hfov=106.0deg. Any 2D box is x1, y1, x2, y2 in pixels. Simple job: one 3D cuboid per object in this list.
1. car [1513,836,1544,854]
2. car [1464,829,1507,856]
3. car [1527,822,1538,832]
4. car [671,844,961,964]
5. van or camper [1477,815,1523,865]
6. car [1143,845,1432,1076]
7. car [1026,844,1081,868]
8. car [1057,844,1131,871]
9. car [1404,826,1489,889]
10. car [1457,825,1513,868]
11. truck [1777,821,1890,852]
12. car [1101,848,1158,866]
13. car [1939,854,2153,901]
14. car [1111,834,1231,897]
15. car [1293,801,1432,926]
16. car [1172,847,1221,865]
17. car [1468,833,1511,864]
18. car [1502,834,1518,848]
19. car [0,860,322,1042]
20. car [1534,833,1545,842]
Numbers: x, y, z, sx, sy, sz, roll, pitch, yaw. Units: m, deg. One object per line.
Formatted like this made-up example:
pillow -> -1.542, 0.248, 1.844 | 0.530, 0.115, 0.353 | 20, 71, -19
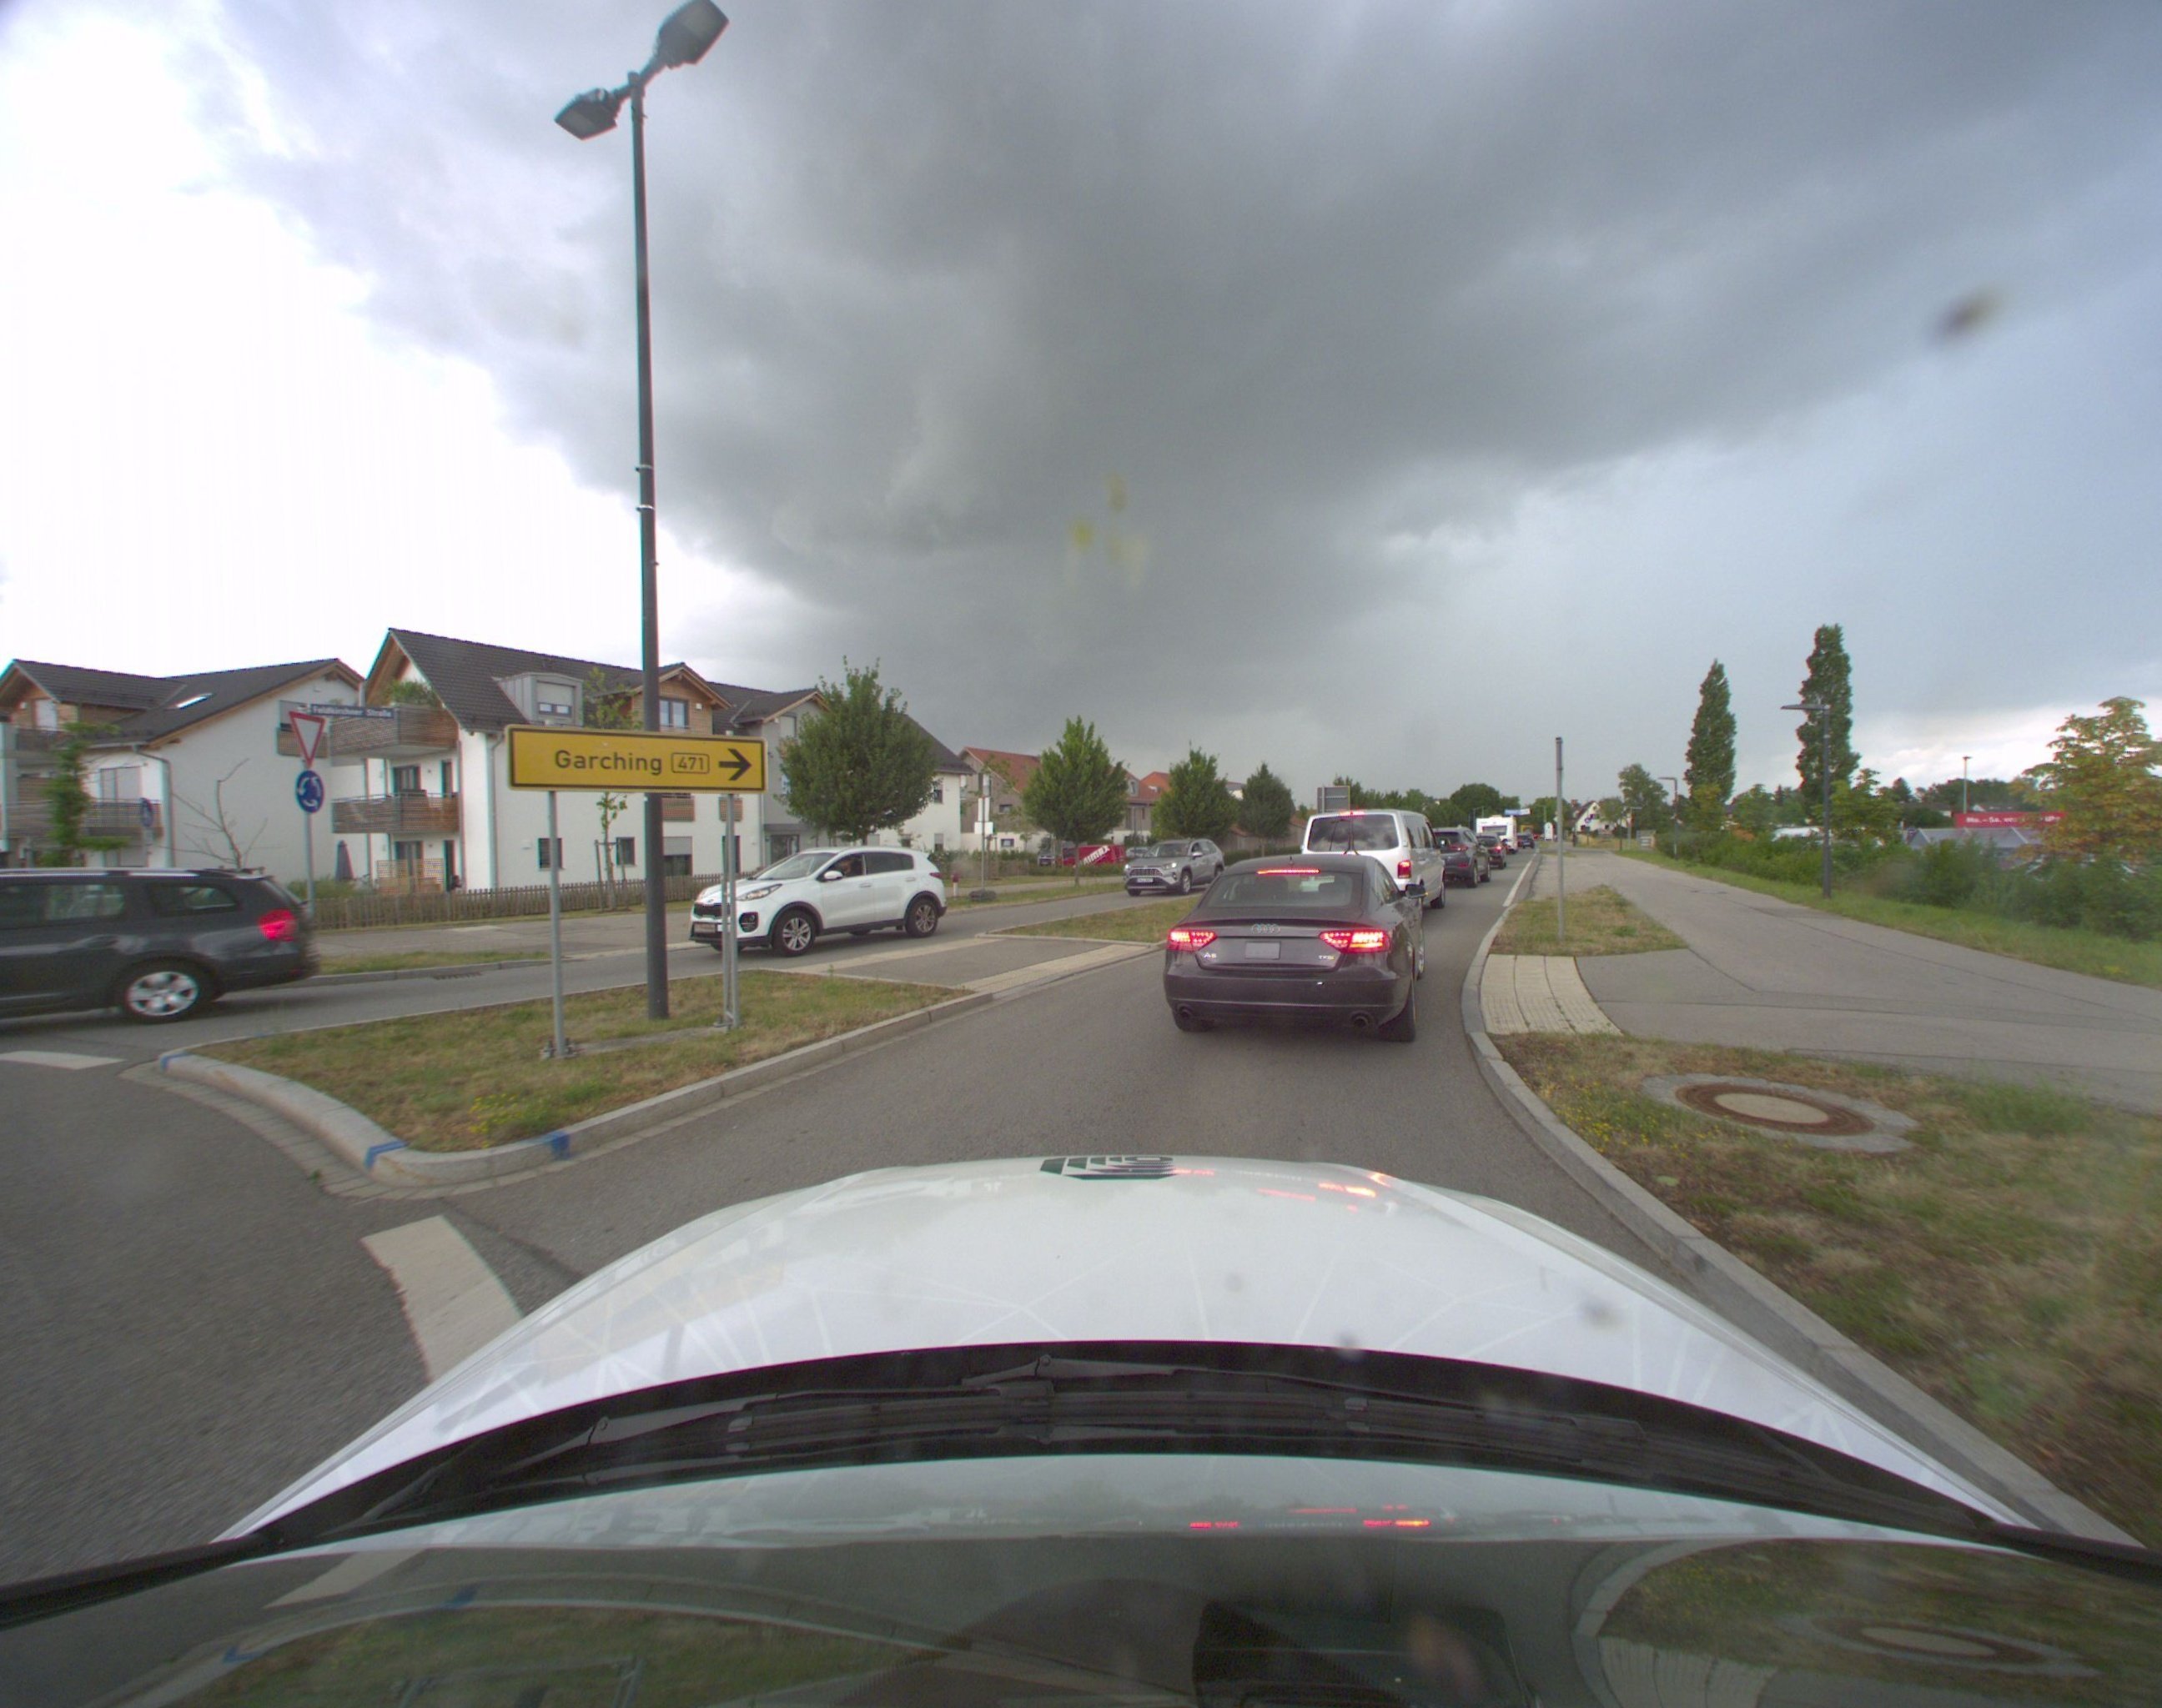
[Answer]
car -> 44.612, -0.913, 81.224 | 1.603, 1.793, 4.013 | -1, 1, 11
car -> 24.614, -0.716, 49.460 | 1.974, 1.596, 4.025 | 0, 1, 31
car -> 103.063, -6.064, 185.900 | 1.974, 2.211, 4.026 | 0, 1, 34
car -> -4.204, 0.691, 13.662 | 1.692, 1.626, 4.479 | -2, 0, 34
van or camper -> 29.659, -0.963, 57.537 | 2.600, 3.323, 6.864 | 0, 0, 29
car -> 2.124, 0.644, 7.300 | 1.768, 1.391, 4.157 | 0, 1, 25
car -> -2.091, 0.157, 63.727 | 1.974, 1.772, 4.494 | 0, 1, 35
car -> 0.851, 0.199, 53.577 | 4.486, 1.680, 2.013 | 0, 1, 33
car -> 10.339, 0.053, 22.891 | 1.759, 1.618, 4.025 | 0, 1, 30
car -> 16.610, -0.304, 33.389 | 1.759, 1.618, 4.025 | -1, 0, 30
truck -> 46.315, -1.070, 50.259 | 4.752, 1.872, 2.012 | 0, 1, 26
car -> 3.702, 0.209, 61.785 | 3.878, 1.315, 1.854 | 0, 1, 28
car -> 32.180, 0.755, 27.361 | 4.192, 1.440, 2.013 | 0, 1, 30
car -> 2.909, 0.296, 25.231 | 1.974, 1.704, 4.664 | -3, 0, 29
car -> 5.210, 0.109, 14.724 | 1.850, 1.934, 4.024 | 0, 1, 26
car -> 9.838, 0.174, 69.403 | 3.695, 1.481, 1.697 | 0, 1, 27
car -> 20.384, -0.294, 40.602 | 1.760, 1.434, 3.826 | -1, 0, 28
car -> 62.411, -1.889, 118.437 | 1.975, 1.899, 4.025 | 0, 1, 29
car -> -10.292, 0.903, 7.819 | 4.302, 1.564, 1.753 | -2, 0, -41
car -> 79.982, -2.868, 142.061 | 1.598, 1.408, 3.639 | 0, 1, 31
